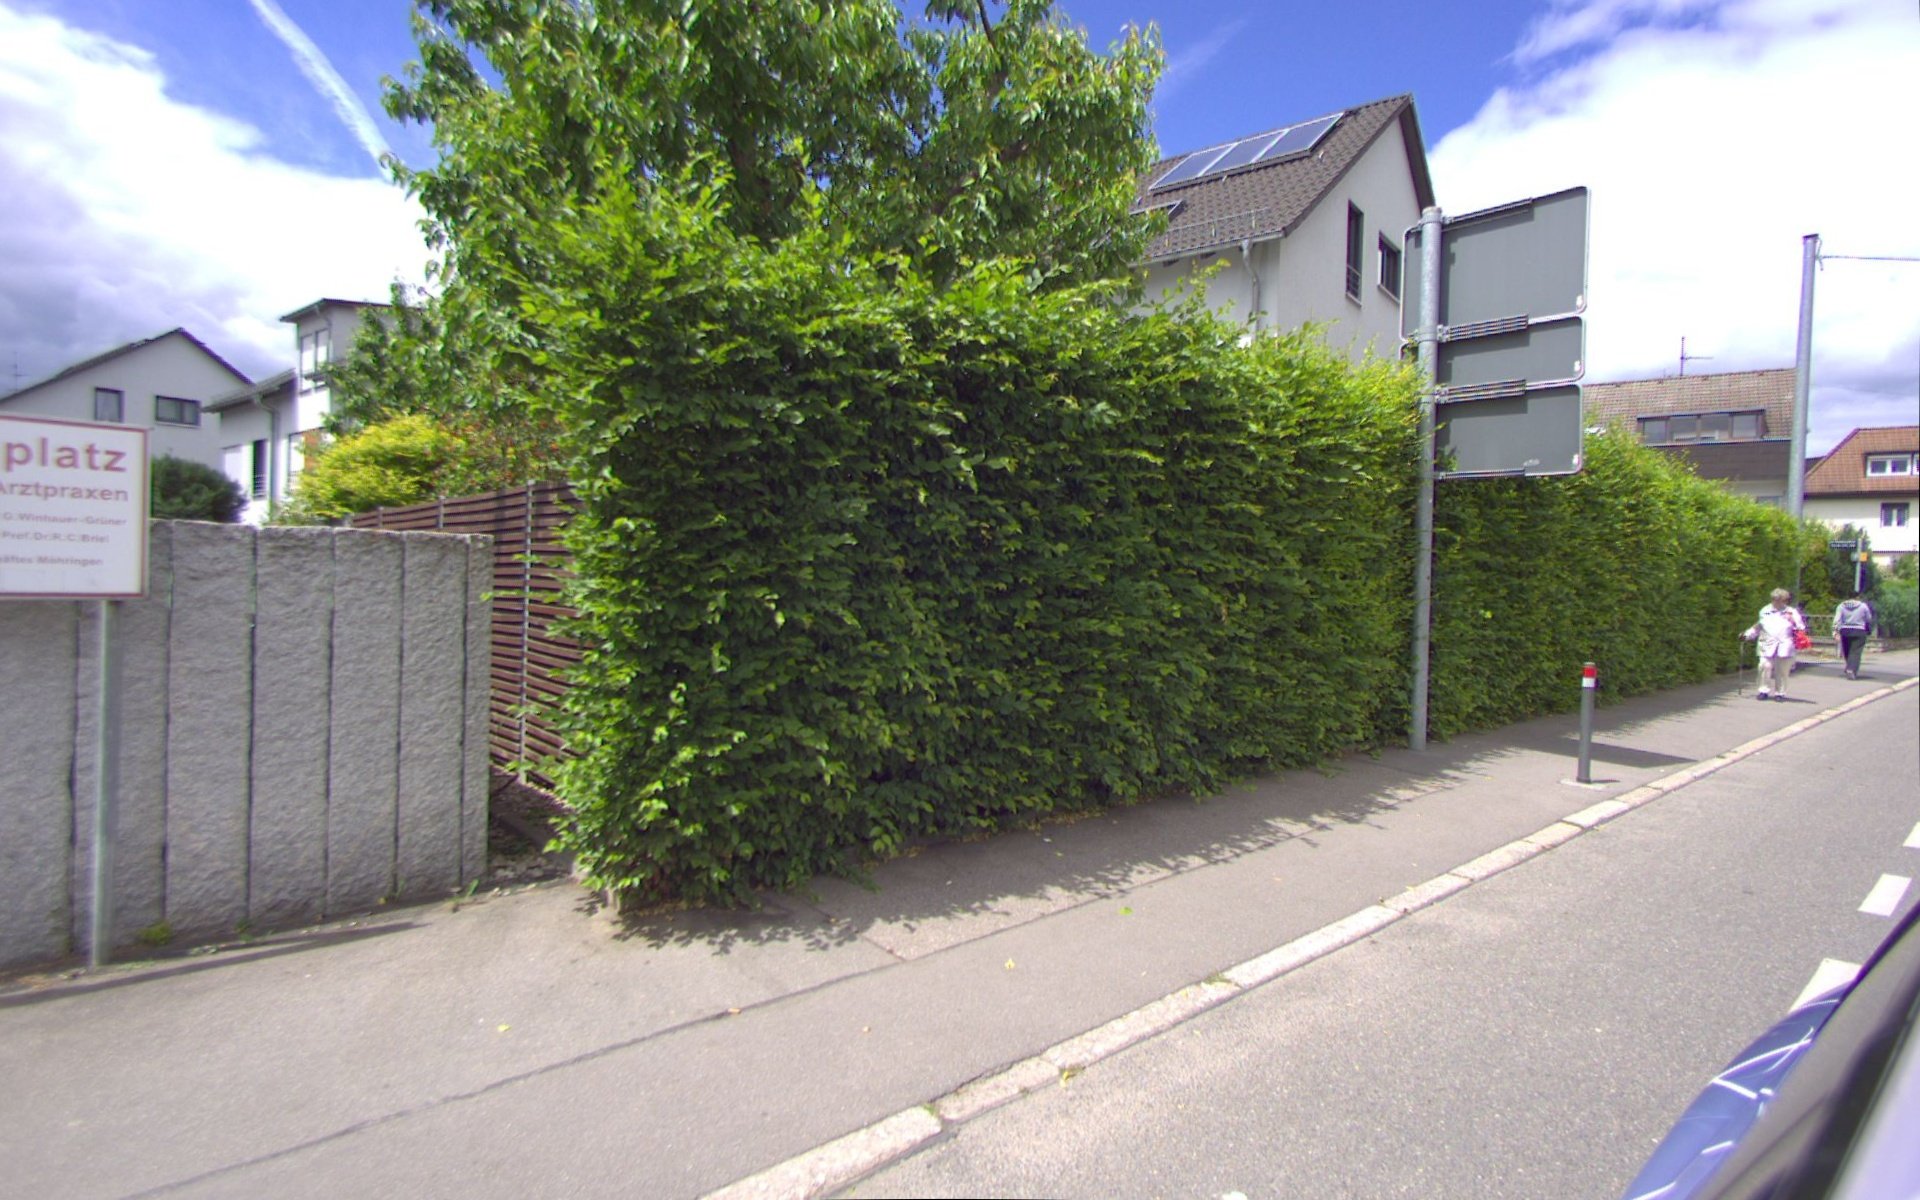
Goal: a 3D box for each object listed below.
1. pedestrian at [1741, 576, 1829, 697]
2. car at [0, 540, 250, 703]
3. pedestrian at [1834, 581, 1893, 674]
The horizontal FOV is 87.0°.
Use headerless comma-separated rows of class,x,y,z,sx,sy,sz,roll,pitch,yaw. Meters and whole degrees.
pedestrian,11.748,0.489,14.417,0.641,1.637,0.801,0,2,-39
car,-9.807,0.179,10.401,1.768,1.555,3.768,1,1,23
pedestrian,16.408,0.479,18.383,0.821,1.625,0.604,0,3,-40
